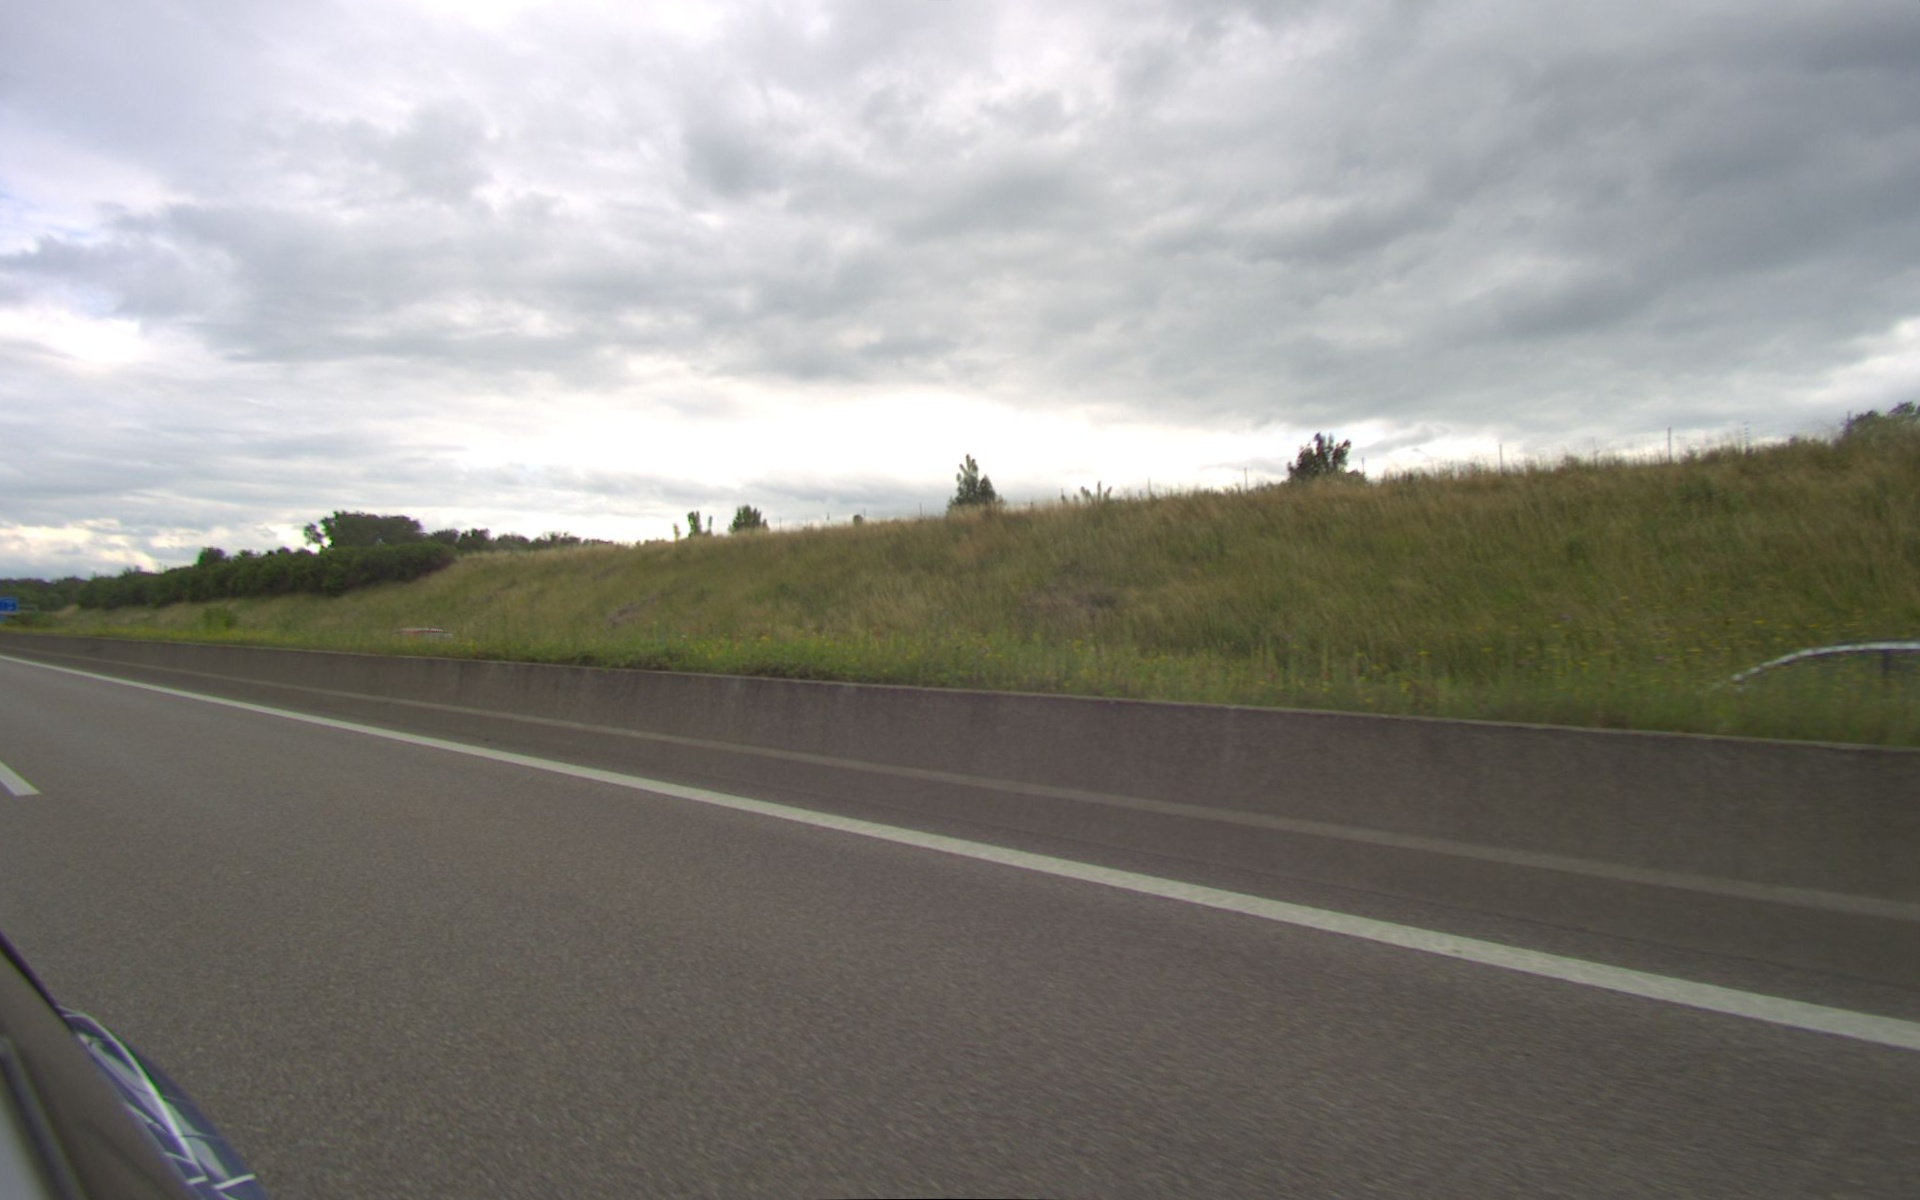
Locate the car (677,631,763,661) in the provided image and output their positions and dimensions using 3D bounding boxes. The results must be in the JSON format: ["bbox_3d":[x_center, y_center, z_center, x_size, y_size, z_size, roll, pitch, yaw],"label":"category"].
[{"bbox_3d":[-10.486,1.981,44.144,3.998,1.216,1.635,-1,-2,41],"label":"car"}]

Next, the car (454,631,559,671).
[{"bbox_3d":[-12.151,1.335,27.051,2.924,0.978,1.472,-1,-2,41],"label":"car"}]
